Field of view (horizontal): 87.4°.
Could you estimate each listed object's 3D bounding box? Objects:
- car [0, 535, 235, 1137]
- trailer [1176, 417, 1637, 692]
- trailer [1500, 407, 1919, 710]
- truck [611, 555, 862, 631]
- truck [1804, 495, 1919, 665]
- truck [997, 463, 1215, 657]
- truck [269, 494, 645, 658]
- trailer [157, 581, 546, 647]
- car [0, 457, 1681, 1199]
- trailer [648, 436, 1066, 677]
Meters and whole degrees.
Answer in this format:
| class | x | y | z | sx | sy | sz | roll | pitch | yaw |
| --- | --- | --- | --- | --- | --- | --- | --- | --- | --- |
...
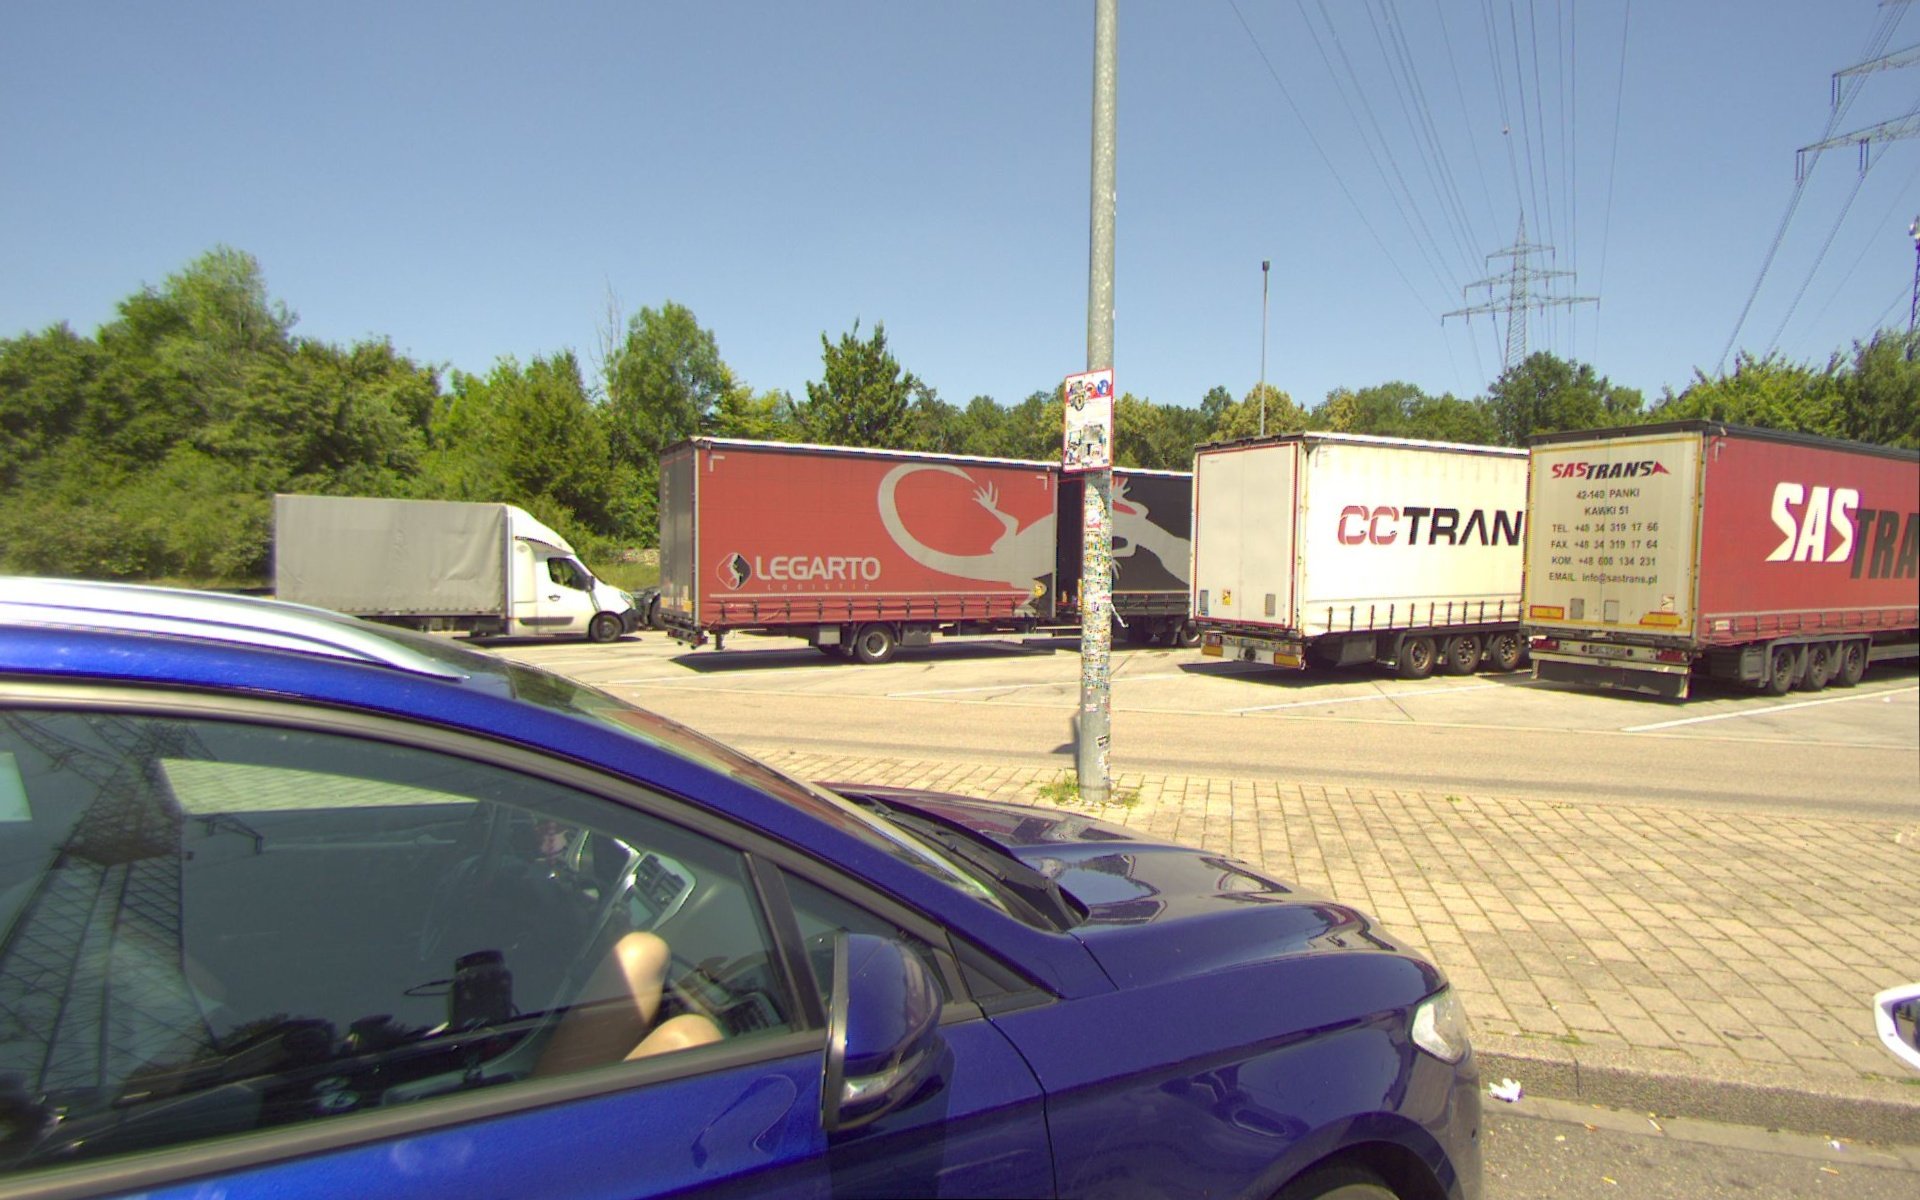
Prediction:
| class | x | y | z | sx | sy | sz | roll | pitch | yaw |
| --- | --- | --- | --- | --- | --- | --- | --- | --- | --- |
| car | -4.531 | 0.581 | 2.255 | 4.592 | 1.554 | 1.726 | 0 | 1 | -33 |
| trailer | 8.886 | -0.826 | 19.329 | 10.049 | 4.267 | 2.714 | -1 | 3 | -30 |
| trailer | 15.425 | -0.708 | 18.565 | 13.559 | 4.189 | 2.892 | -1 | 3 | -30 |
| truck | -6.464 | -0.172 | 29.525 | 6.961 | 2.040 | 1.984 | 0 | 0 | -30 |
| truck | 21.746 | -0.438 | 22.311 | 5.418 | 3.475 | 2.838 | -1 | 3 | -30 |
| truck | 3.375 | -0.911 | 23.362 | 4.273 | 4.072 | 2.689 | -1 | 3 | -30 |
| truck | -11.183 | -0.580 | 22.901 | 7.254 | 3.254 | 2.515 | -1 | 3 | -30 |
| trailer | -14.812 | 0.251 | 25.184 | 7.996 | 1.394 | 2.211 | -1 | 3 | -30 |
| car | -0.958 | 0.653 | 1.470 | 4.592 | 1.502 | 1.727 | 0 | 0 | -33 |
| trailer | -1.907 | -0.836 | 20.267 | 7.996 | 4.101 | 2.696 | -1 | 3 | -30 |
